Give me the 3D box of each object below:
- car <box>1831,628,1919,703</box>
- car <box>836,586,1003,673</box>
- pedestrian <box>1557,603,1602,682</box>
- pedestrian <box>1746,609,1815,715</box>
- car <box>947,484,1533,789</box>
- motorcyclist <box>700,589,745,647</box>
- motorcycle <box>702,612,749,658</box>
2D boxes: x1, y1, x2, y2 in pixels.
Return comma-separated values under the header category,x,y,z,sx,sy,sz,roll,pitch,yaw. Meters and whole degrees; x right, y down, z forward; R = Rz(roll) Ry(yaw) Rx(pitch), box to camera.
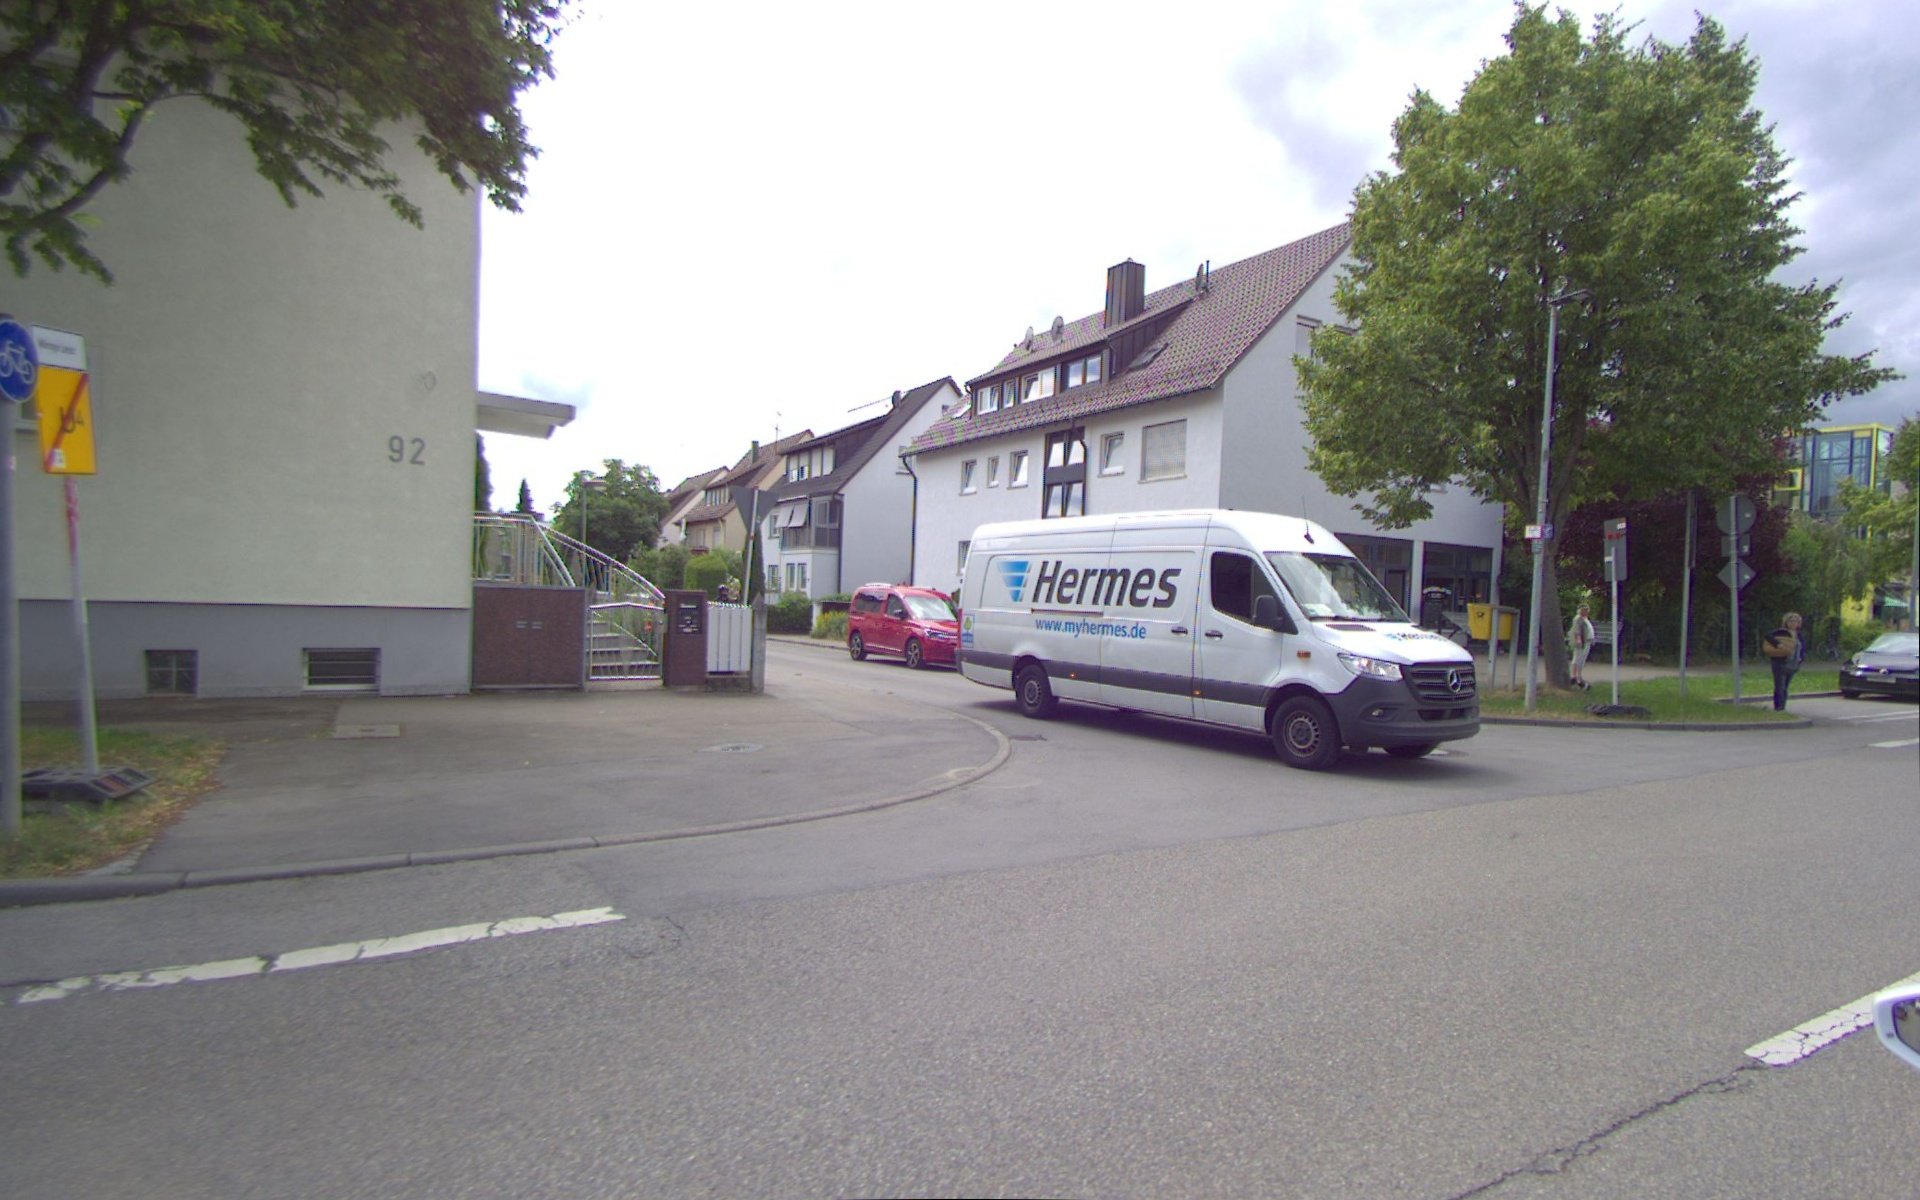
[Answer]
category,x,y,z,sx,sy,sz,roll,pitch,yaw
car,20.209,1.339,21.228,3.976,1.439,1.634,1,-1,-32
car,-1.038,0.631,23.281,1.853,1.801,4.321,3,-1,-33
pedestrian,12.801,0.872,20.739,0.797,1.572,0.428,1,1,-31
pedestrian,13.650,1.013,16.716,0.739,1.704,0.541,0,2,-22
car,2.726,0.282,12.310,2.197,2.629,7.244,1,0,-33
motorcyclist,-5.851,0.441,24.728,0.745,1.383,1.100,1,0,-32
motorcycle,-5.819,0.846,24.884,0.475,1.045,2.101,1,0,-31
